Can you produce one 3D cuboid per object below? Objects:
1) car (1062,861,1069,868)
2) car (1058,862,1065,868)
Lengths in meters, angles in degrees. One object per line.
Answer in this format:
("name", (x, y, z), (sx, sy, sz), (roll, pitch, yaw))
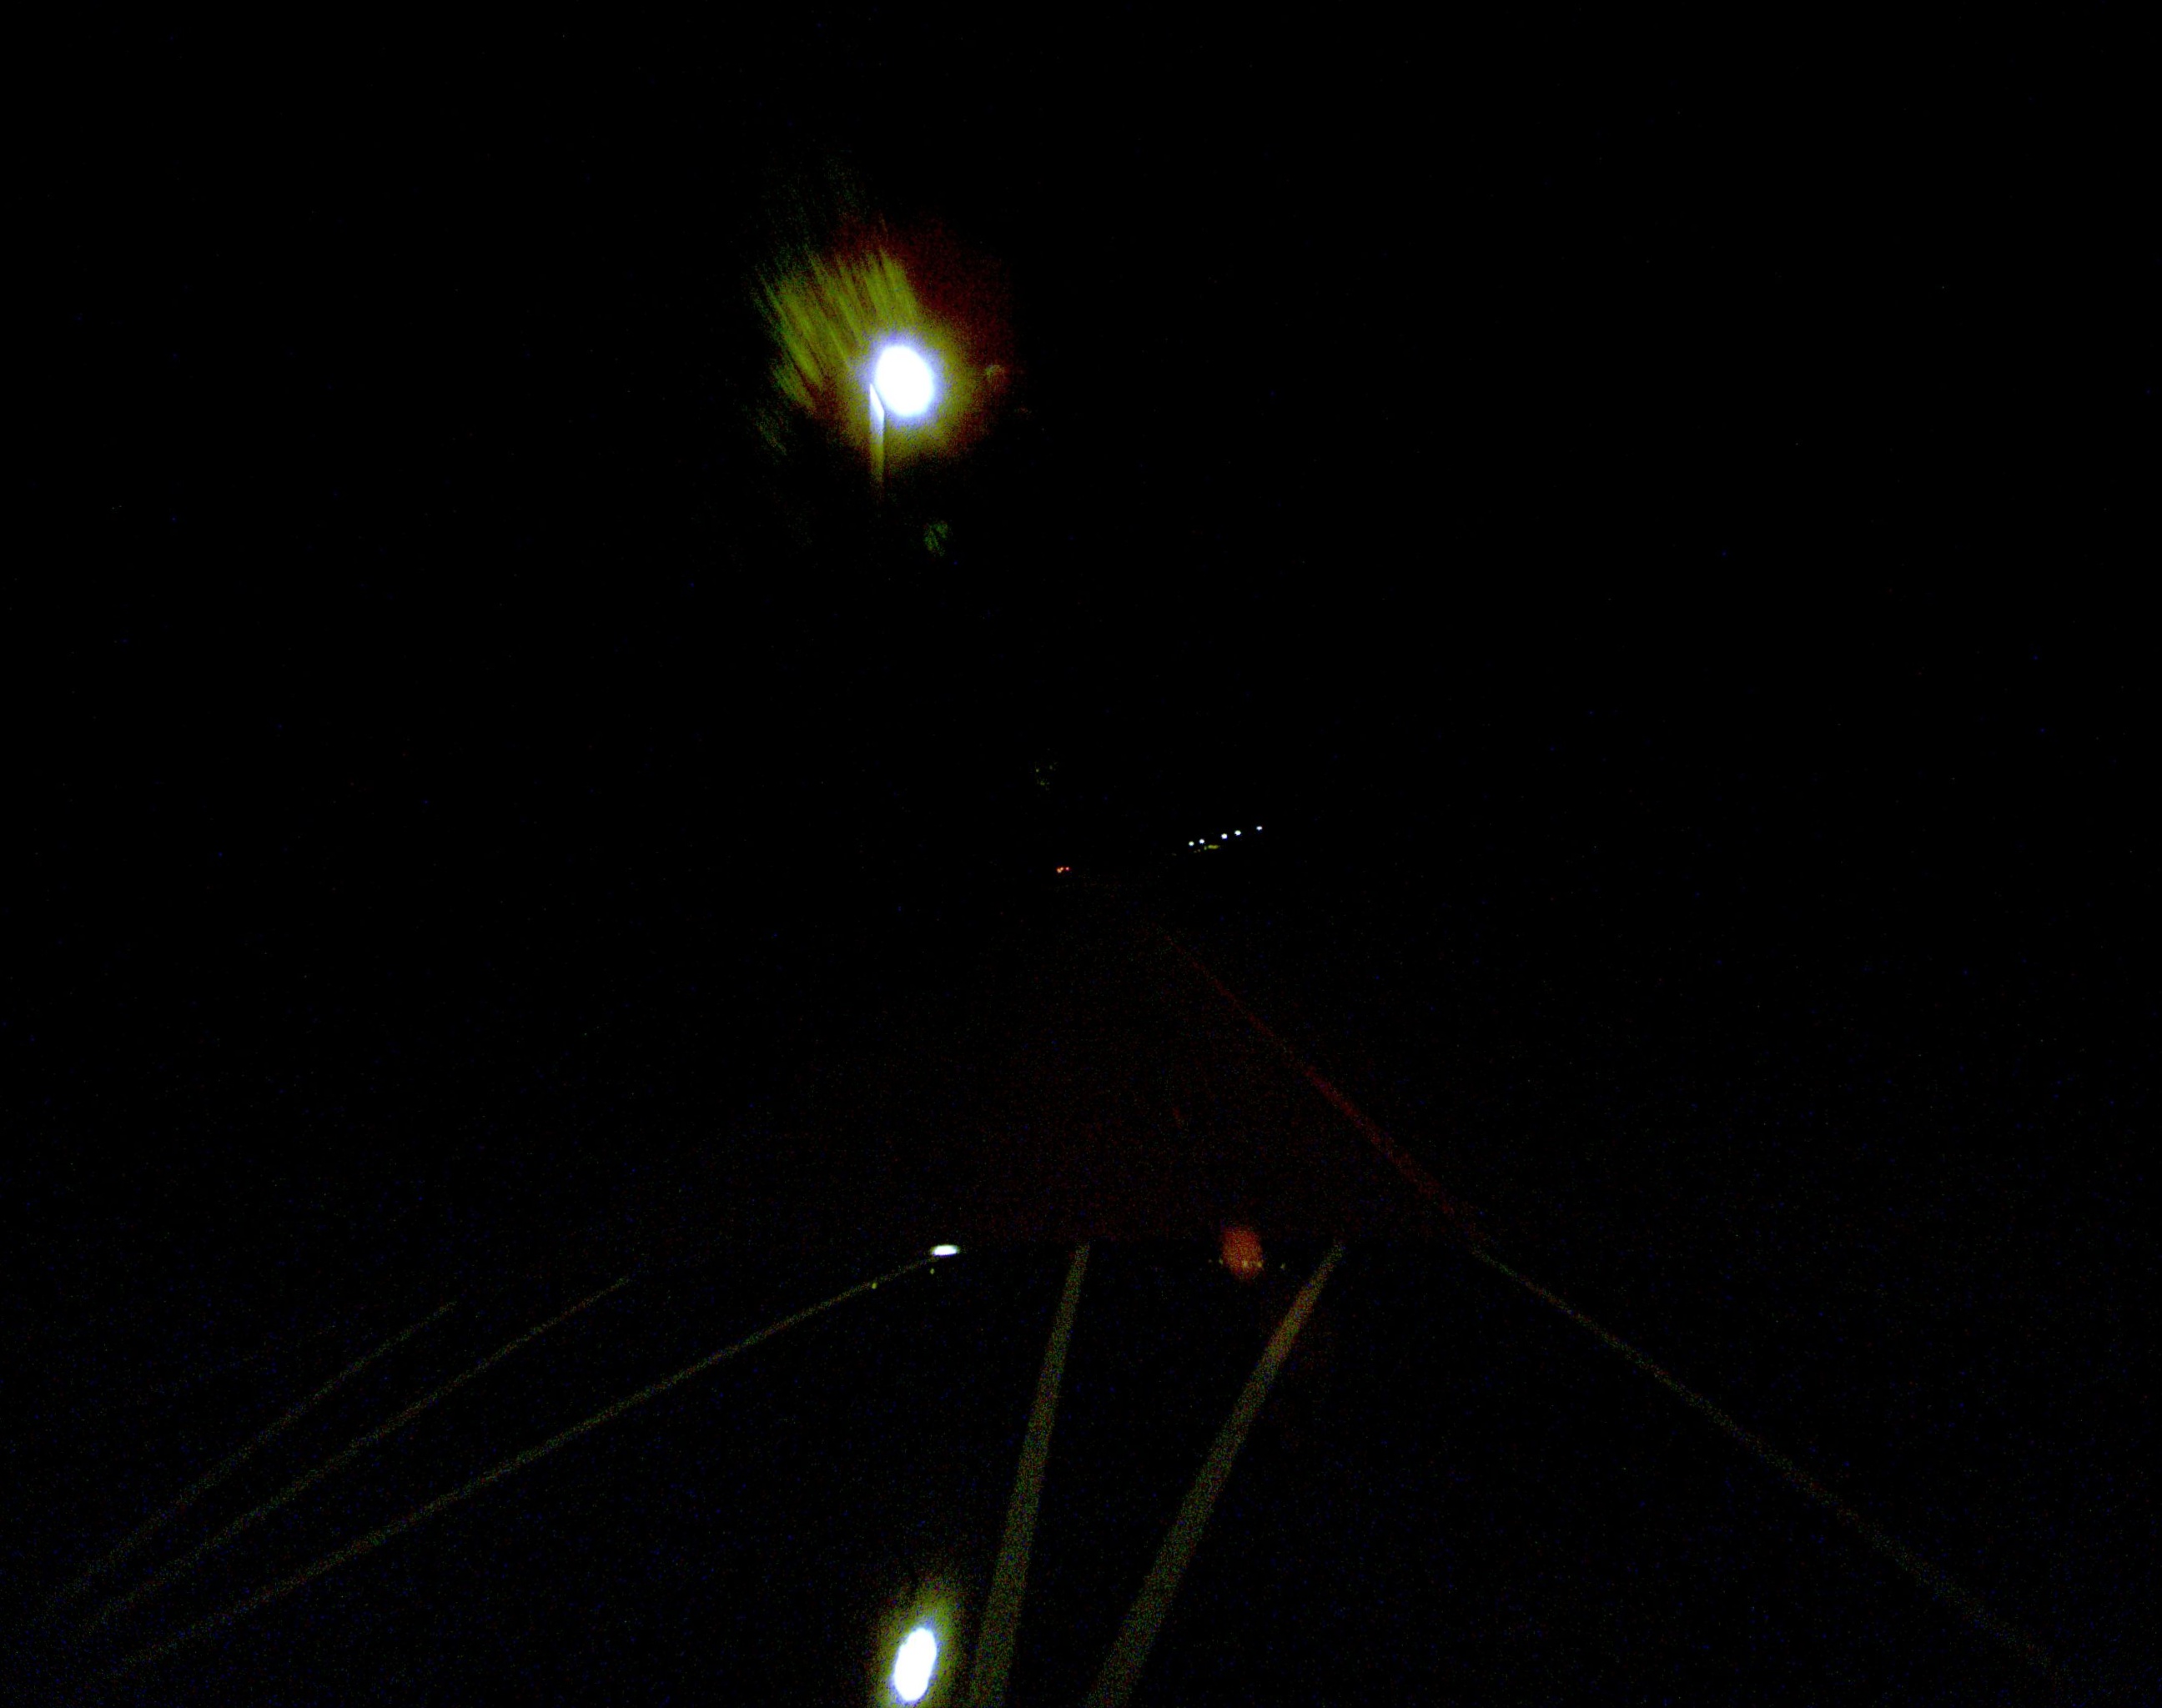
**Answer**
("car", (-3.570, 2.446, 174.096), (1.651, 1.482, 3.557), (-2, 0, -2))
("car", (-4.877, 2.665, 192.357), (1.692, 1.449, 4.000), (-2, 0, -1))
